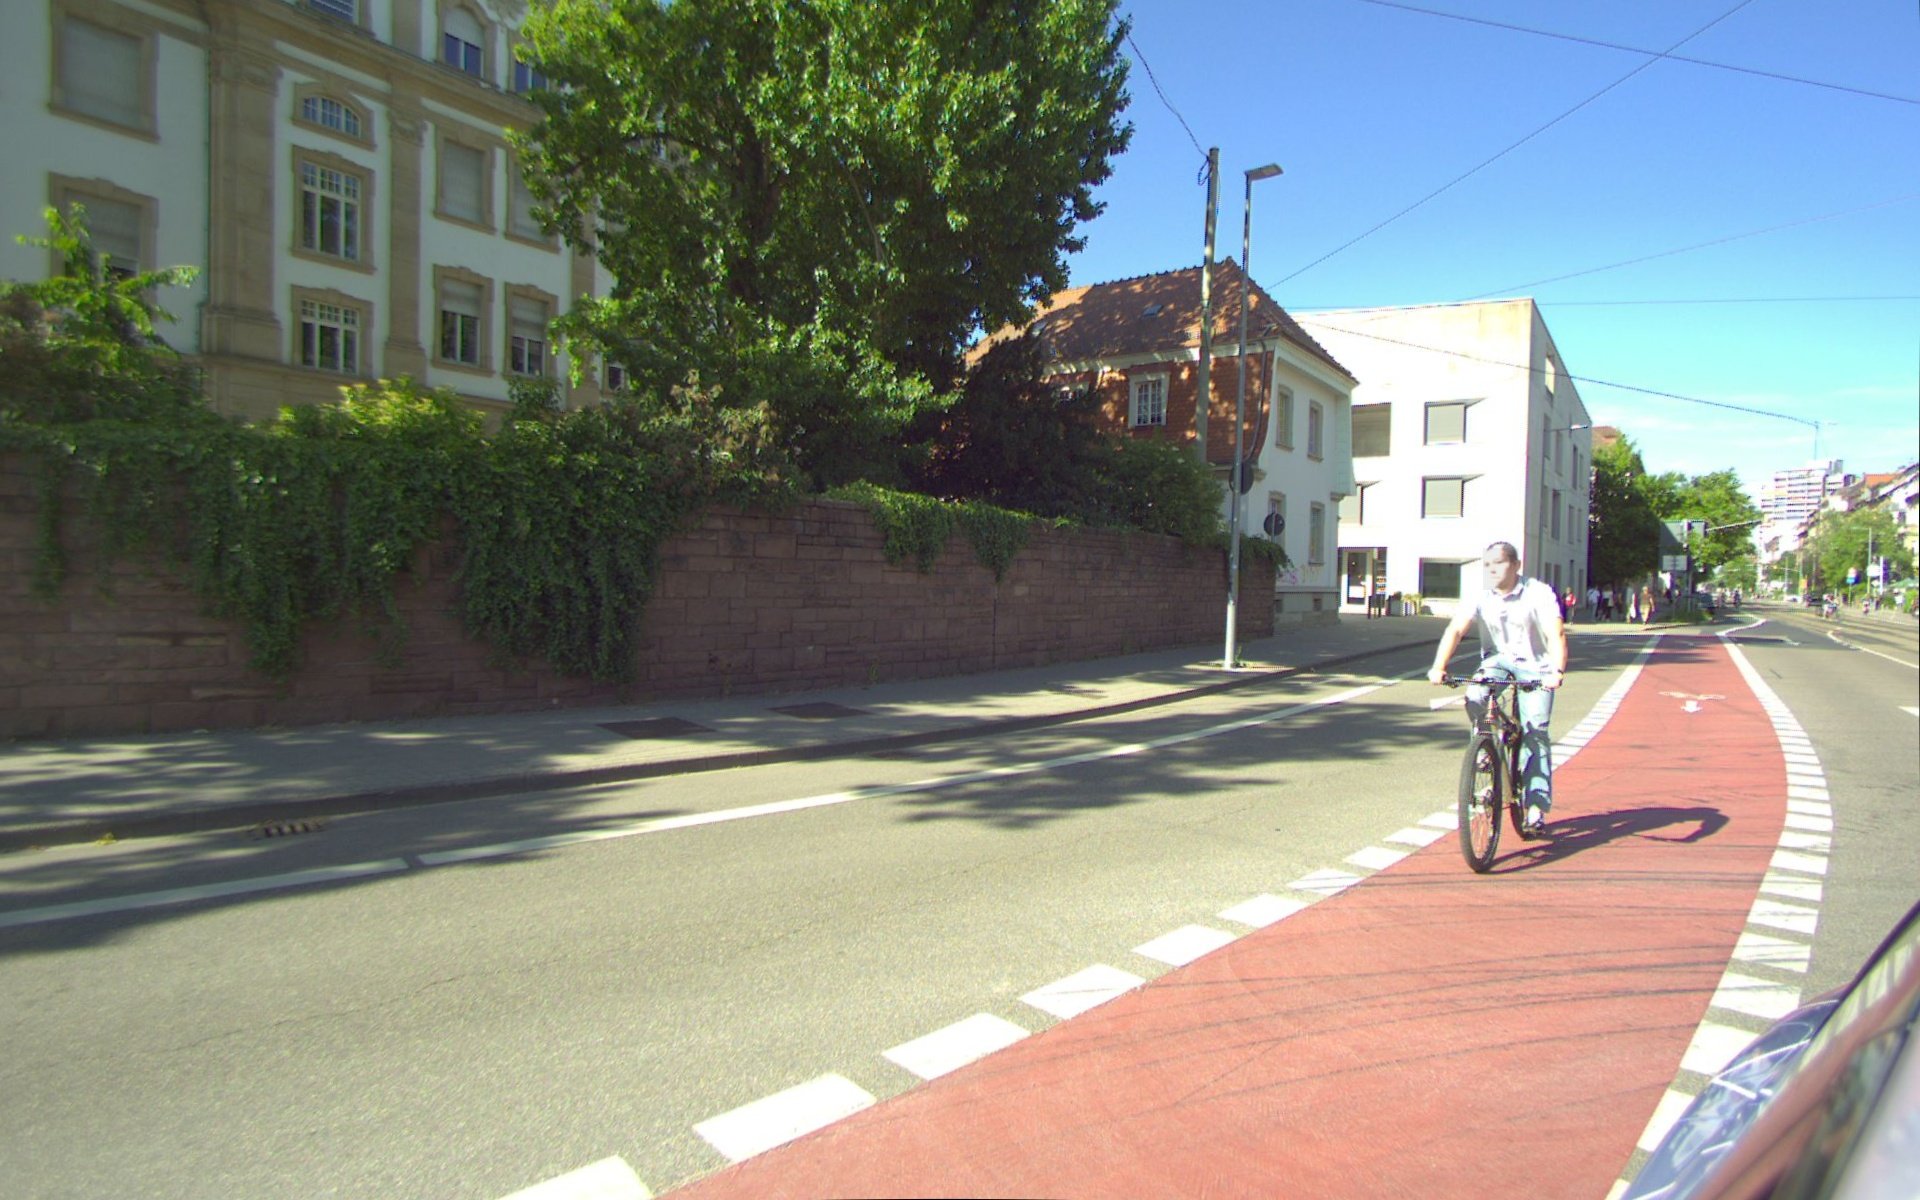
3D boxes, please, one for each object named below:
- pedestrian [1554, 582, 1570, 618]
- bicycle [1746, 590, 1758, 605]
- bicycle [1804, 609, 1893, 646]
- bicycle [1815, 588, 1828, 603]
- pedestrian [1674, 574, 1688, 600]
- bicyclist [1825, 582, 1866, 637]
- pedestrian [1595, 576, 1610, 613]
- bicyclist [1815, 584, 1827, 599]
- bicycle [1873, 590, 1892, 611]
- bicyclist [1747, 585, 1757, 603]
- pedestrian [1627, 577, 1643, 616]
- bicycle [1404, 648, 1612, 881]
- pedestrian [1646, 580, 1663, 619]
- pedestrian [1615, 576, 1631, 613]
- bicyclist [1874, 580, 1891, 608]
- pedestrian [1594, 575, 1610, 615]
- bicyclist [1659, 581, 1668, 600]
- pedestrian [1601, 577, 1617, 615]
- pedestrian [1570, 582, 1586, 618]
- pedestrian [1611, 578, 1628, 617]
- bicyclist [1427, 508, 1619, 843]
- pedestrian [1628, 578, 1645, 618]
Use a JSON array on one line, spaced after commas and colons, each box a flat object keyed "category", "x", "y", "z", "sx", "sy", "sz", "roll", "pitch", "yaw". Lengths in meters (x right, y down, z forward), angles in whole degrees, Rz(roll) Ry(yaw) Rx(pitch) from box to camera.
[{"category": "pedestrian", "x": 26.692, "y": -0.013, "z": 44.895, "sx": 0.531, "sy": 1.586, "sz": 0.513, "roll": 2, "pitch": 1, "yaw": 37}, {"category": "bicycle", "x": 65.650, "y": -0.193, "z": 83.872, "sx": 0.663, "sy": 1.166, "sz": 1.647, "roll": 0, "pitch": 1, "yaw": 41}, {"category": "bicycle", "x": 50.317, "y": 1.531, "z": 57.377, "sx": 0.983, "sy": 1.910, "sz": 3.902, "roll": -1, "pitch": 1, "yaw": -14}, {"category": "bicycle", "x": 101.594, "y": -0.596, "z": 119.369, "sx": 0.998, "sy": 1.702, "sz": 2.945, "roll": 0, "pitch": 1, "yaw": 37}, {"category": "pedestrian", "x": 49.230, "y": -0.886, "z": 69.064, "sx": 0.676, "sy": 1.760, "sz": 0.918, "roll": 2, "pitch": 1, "yaw": 39}, {"category": "bicyclist", "x": 50.283, "y": 0.519, "z": 57.483, "sx": 0.983, "sy": 3.012, "sz": 1.477, "roll": -1, "pitch": 1, "yaw": -14}, {"category": "pedestrian", "x": 32.594, "y": -0.296, "z": 51.315, "sx": 0.584, "sy": 1.828, "sz": 0.538, "roll": 2, "pitch": 1, "yaw": 37}, {"category": "bicyclist", "x": 101.584, "y": -1.061, "z": 119.361, "sx": 0.998, "sy": 1.743, "sz": 0.971, "roll": 0, "pitch": 1, "yaw": 38}, {"category": "bicycle", "x": 76.077, "y": 0.036, "z": 83.450, "sx": 0.999, "sy": 1.702, "sz": 2.942, "roll": 0, "pitch": 1, "yaw": 40}, {"category": "bicyclist", "x": 65.638, "y": -0.509, "z": 83.852, "sx": 0.663, "sy": 1.480, "sz": 0.613, "roll": 0, "pitch": 1, "yaw": 41}, {"category": "pedestrian", "x": 32.705, "y": -0.169, "z": 49.023, "sx": 0.584, "sy": 1.828, "sz": 0.575, "roll": 2, "pitch": 1, "yaw": 37}, {"category": "bicycle", "x": 3.307, "y": 0.881, "z": 6.028, "sx": 0.611, "sy": 1.090, "sz": 1.800, "roll": 1, "pitch": 1, "yaw": 45}, {"category": "pedestrian", "x": 32.027, "y": -0.020, "z": 46.645, "sx": 0.584, "sy": 1.749, "sz": 0.513, "roll": 2, "pitch": 1, "yaw": 37}, {"category": "pedestrian", "x": 33.232, "y": -0.285, "z": 50.717, "sx": 0.584, "sy": 1.828, "sz": 0.538, "roll": 2, "pitch": 1, "yaw": 37}, {"category": "bicyclist", "x": 76.043, "y": -0.507, "z": 83.412, "sx": 0.999, "sy": 2.296, "sz": 1.006, "roll": 0, "pitch": 1, "yaw": 40}, {"category": "pedestrian", "x": 30.428, "y": -0.241, "z": 47.963, "sx": 0.584, "sy": 1.828, "sz": 0.538, "roll": 2, "pitch": 1, "yaw": 37}, {"category": "bicyclist", "x": 82.124, "y": -1.082, "z": 118.118, "sx": 0.809, "sy": 2.234, "sz": 0.971, "roll": 0, "pitch": 1, "yaw": 39}, {"category": "pedestrian", "x": 31.674, "y": -0.212, "z": 49.385, "sx": 0.584, "sy": 1.828, "sz": 0.575, "roll": 2, "pitch": 1, "yaw": 37}, {"category": "pedestrian", "x": 27.177, "y": -0.003, "z": 44.529, "sx": 0.531, "sy": 1.586, "sz": 0.513, "roll": 2, "pitch": 1, "yaw": 37}, {"category": "pedestrian", "x": 30.879, "y": -0.116, "z": 47.395, "sx": 0.584, "sy": 1.828, "sz": 0.538, "roll": 2, "pitch": 1, "yaw": 37}, {"category": "bicyclist", "x": 3.376, "y": 0.396, "z": 6.054, "sx": 0.750, "sy": 1.798, "sz": 0.998, "roll": 1, "pitch": 1, "yaw": 45}, {"category": "pedestrian", "x": 31.348, "y": -0.107, "z": 46.885, "sx": 0.584, "sy": 1.828, "sz": 0.513, "roll": 2, "pitch": 1, "yaw": 37}]
